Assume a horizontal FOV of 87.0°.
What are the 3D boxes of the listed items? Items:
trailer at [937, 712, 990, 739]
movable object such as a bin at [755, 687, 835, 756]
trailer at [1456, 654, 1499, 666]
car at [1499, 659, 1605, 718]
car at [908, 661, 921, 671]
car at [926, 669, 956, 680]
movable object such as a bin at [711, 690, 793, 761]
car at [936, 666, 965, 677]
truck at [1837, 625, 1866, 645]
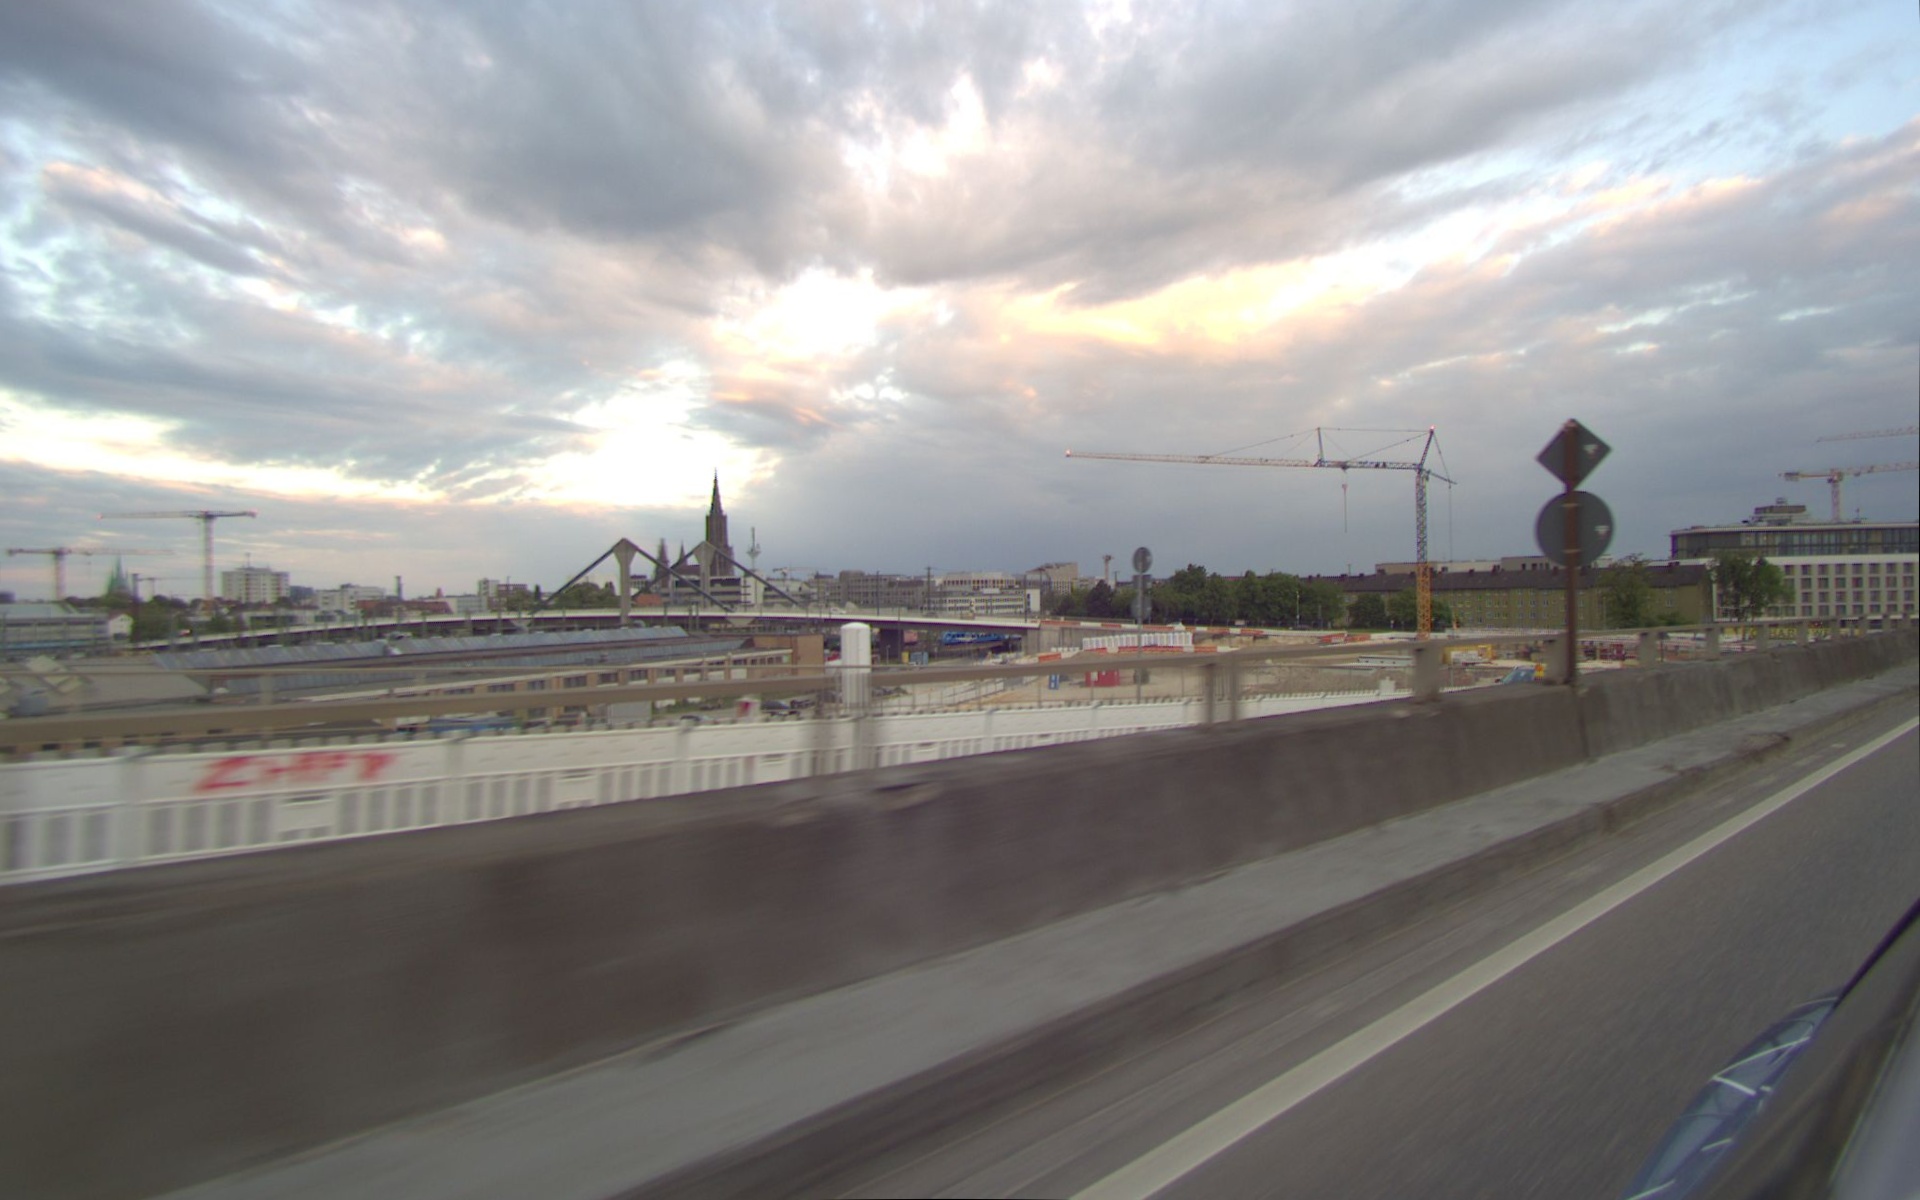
[{"bbox_3d":[0.302,9.982,80.664,3.780,1.828,1.994,1,-7,-44],"label":"trailer"},{"bbox_3d":[-11.689,8.581,71.390,4.929,4.368,2.745,-9,-6,39],"label":"movable object such as a bin"},{"bbox_3d":[61.269,7.091,119.782,4.165,1.257,1.786,-1,-2,-8],"label":"trailer"},{"bbox_3d":[18.126,2.648,30.931,3.932,1.510,1.752,1,-1,-43],"label":"car"},{"bbox_3d":[-8.181,11.887,181.999,1.416,1.597,3.669,-5,-5,12],"label":"car"},{"bbox_3d":[-3.033,11.705,159.238,4.285,1.540,1.861,-3,-1,18],"label":"car"},{"bbox_3d":[-14.062,8.472,68.327,4.929,4.368,2.745,-9,-6,39],"label":"movable object such as a bin"},{"bbox_3d":[-1.487,11.626,163.944,4.285,1.540,1.861,-3,-1,18],"label":"car"},{"bbox_3d":[140.598,5.466,159.524,7.205,2.987,2.161,0,-3,-39],"label":"truck"}]
